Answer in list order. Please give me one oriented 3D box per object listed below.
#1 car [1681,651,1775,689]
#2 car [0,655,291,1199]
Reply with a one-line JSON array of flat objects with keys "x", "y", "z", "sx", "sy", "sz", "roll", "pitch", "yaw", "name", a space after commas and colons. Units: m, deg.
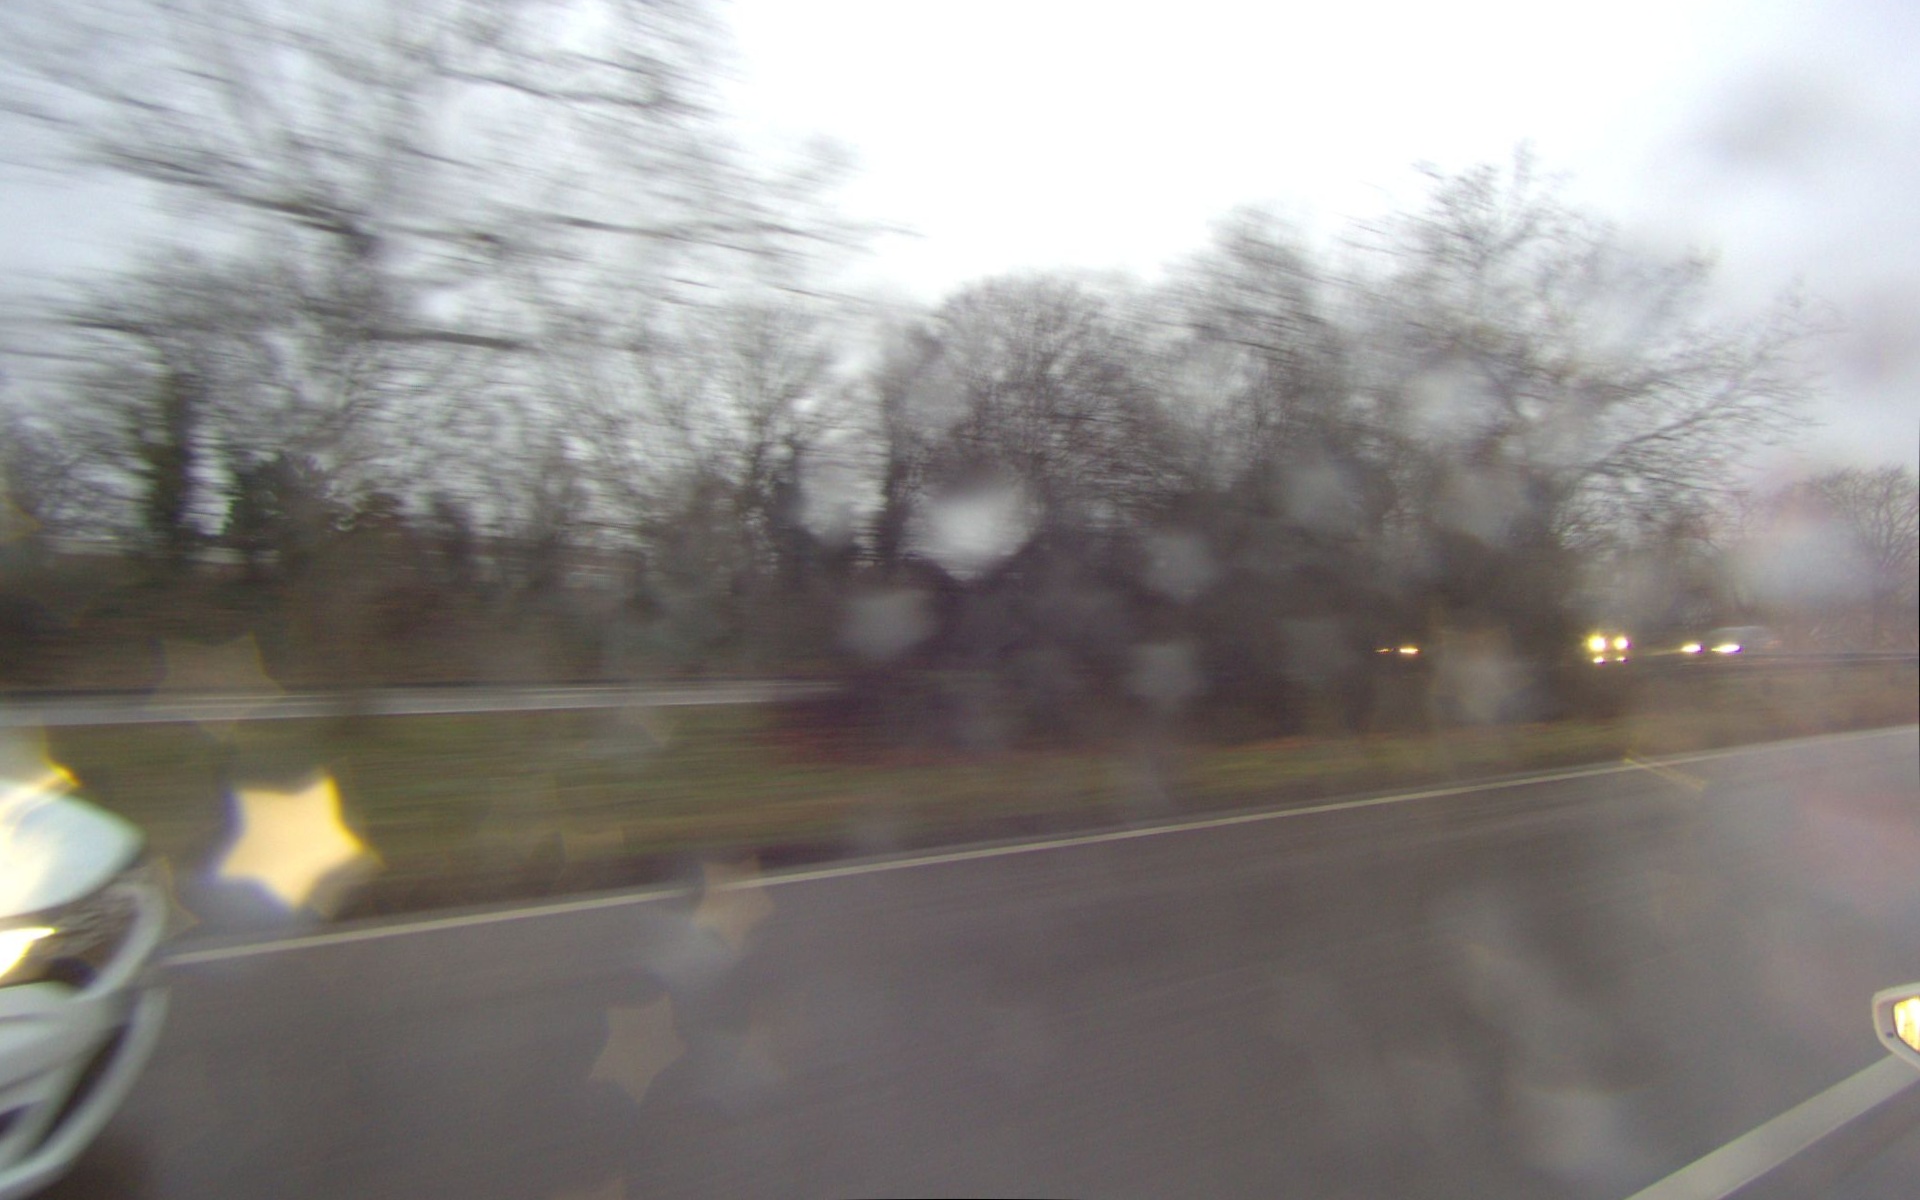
[{"x": 33.834, "y": 3.051, "z": 44.247, "sx": 4.542, "sy": 1.586, "sz": 1.642, "roll": 2, "pitch": -3, "yaw": -29, "name": "car"}, {"x": -3.673, "y": 0.860, "z": 1.605, "sx": 4.175, "sy": 1.459, "sz": 1.716, "roll": 1, "pitch": -2, "yaw": -29, "name": "car"}]
